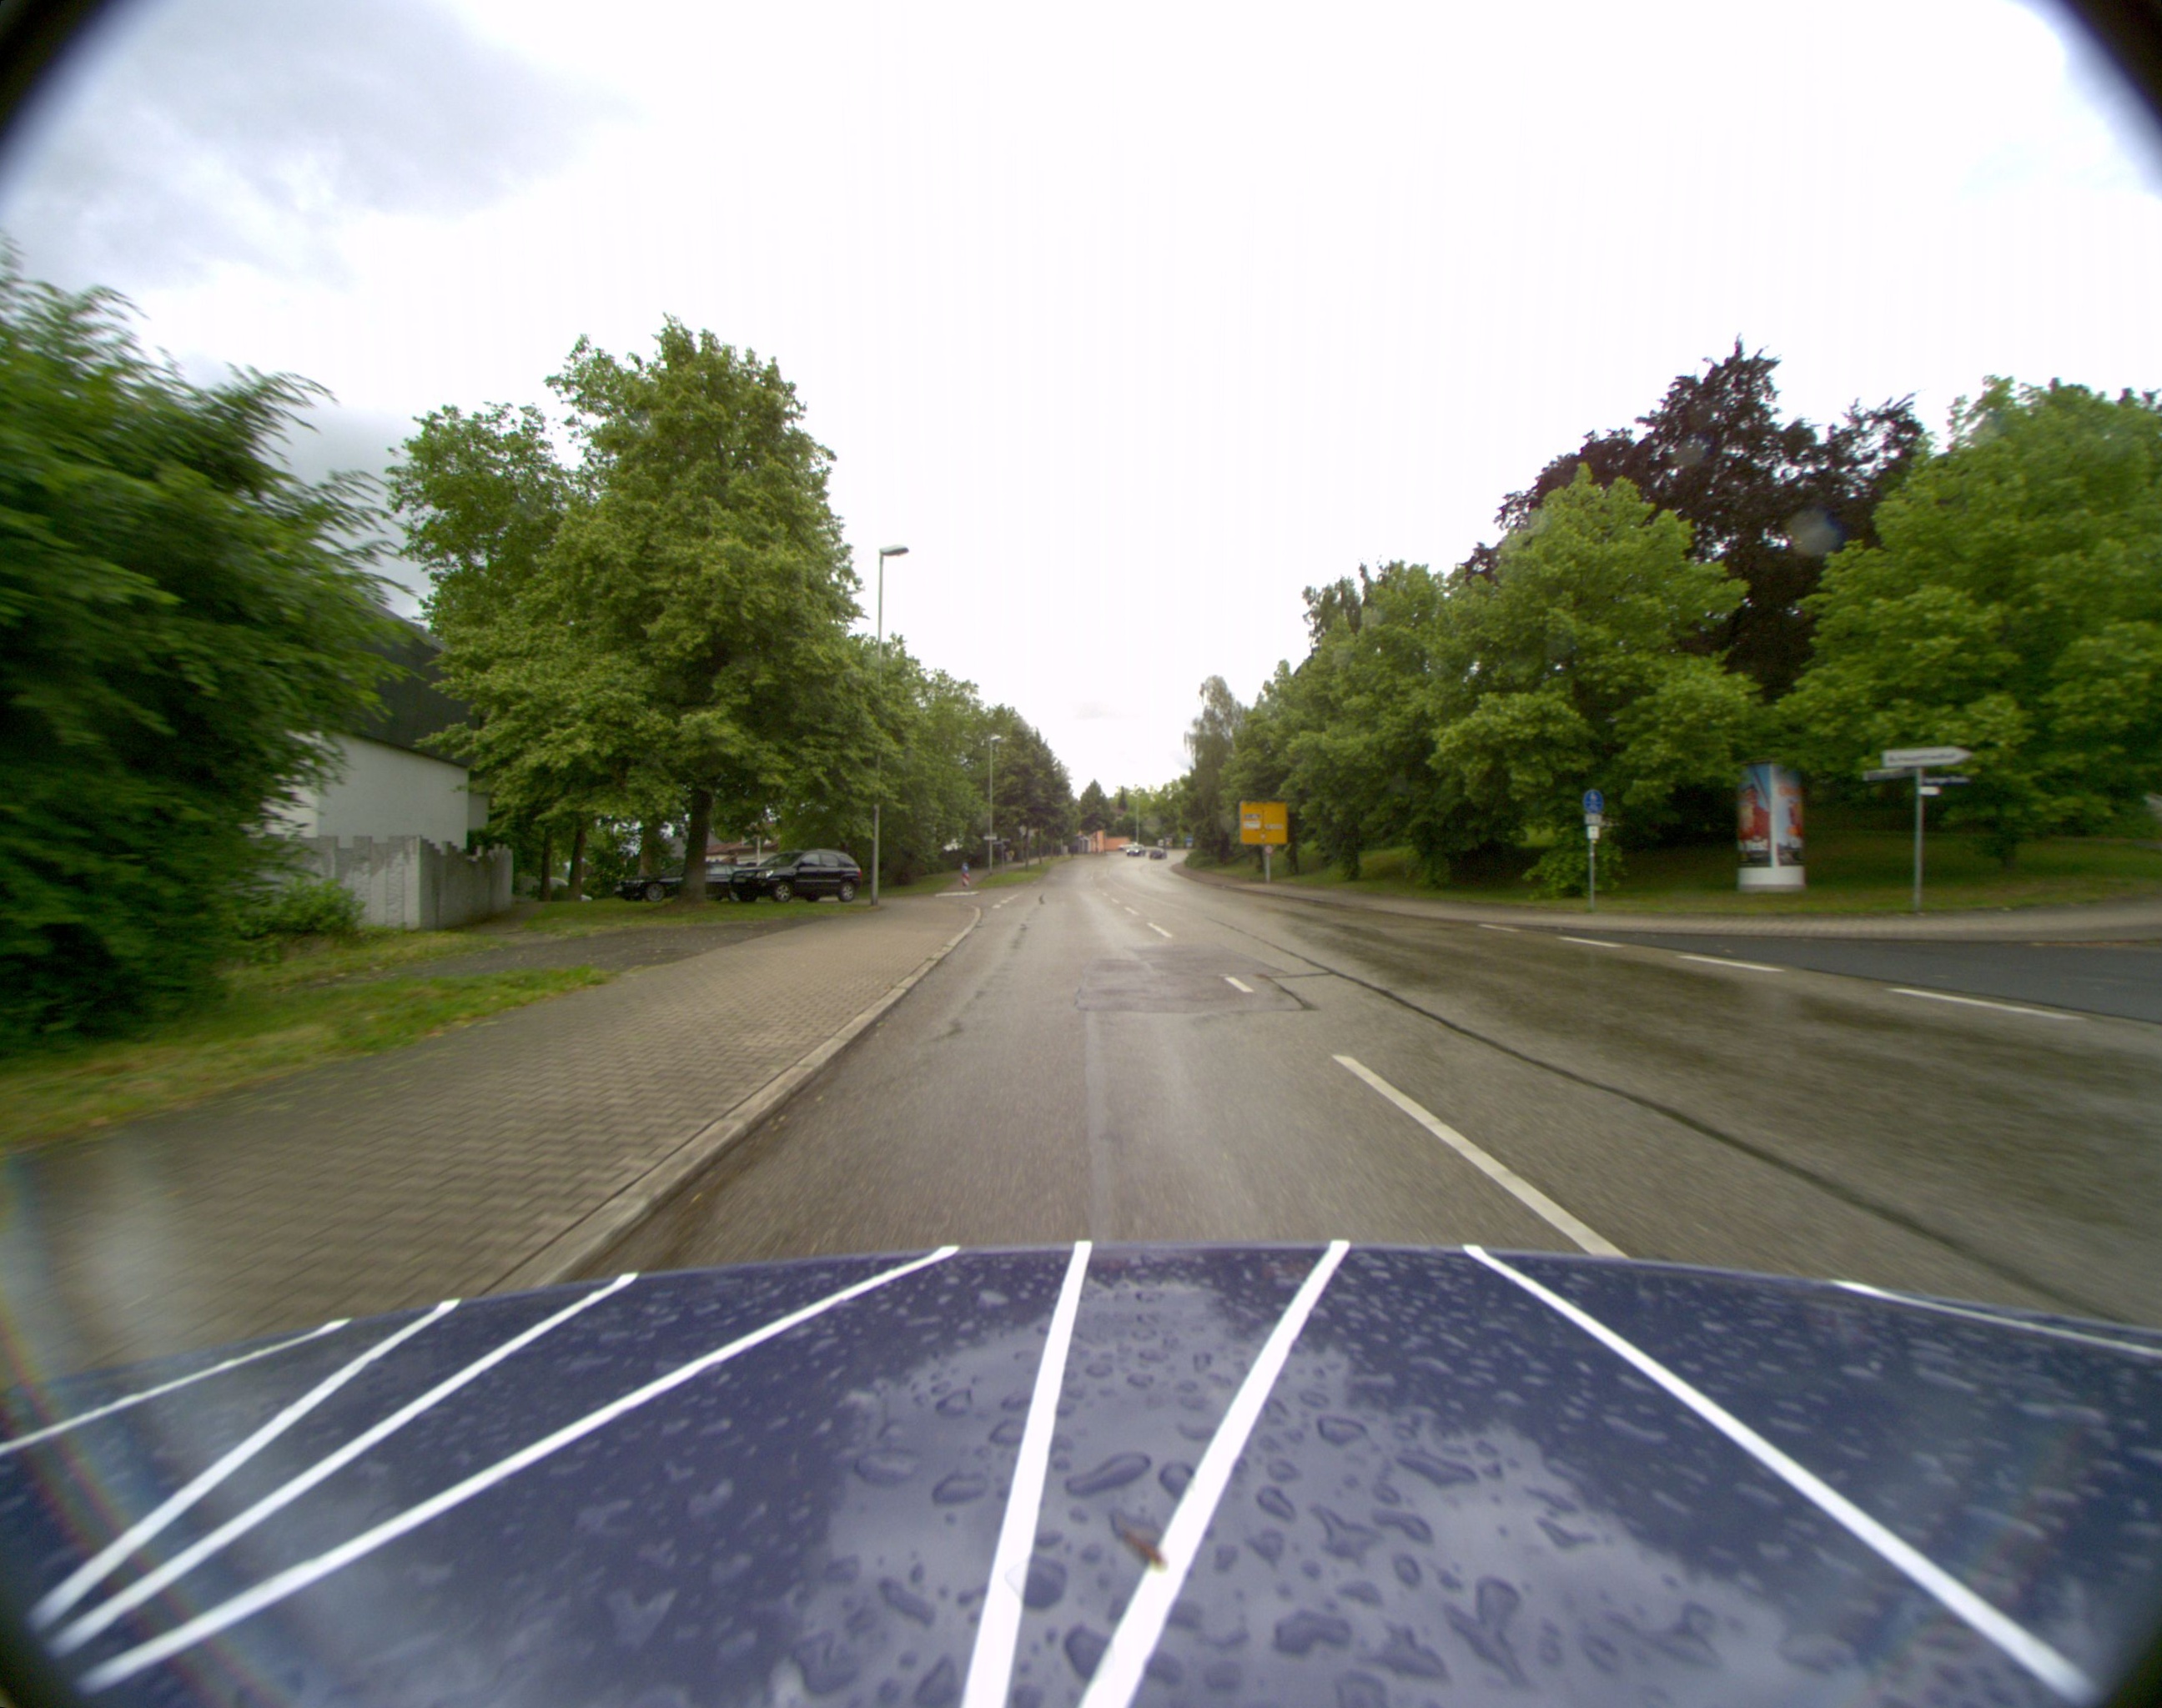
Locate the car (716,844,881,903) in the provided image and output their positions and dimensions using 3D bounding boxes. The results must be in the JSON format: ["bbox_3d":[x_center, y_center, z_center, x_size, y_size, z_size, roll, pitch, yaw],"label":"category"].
[{"bbox_3d":[-8.919,0.679,24.490,1.949,1.679,4.914,-2,-3,28],"label":"car"}]

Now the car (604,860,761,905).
[{"bbox_3d":[-13.870,1.035,26.712,1.752,1.460,4.577,-3,-4,37],"label":"car"}]

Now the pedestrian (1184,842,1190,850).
[{"bbox_3d":[21.085,-1.598,150.650,0.926,1.645,1.099,1,1,21],"label":"pedestrian"}]

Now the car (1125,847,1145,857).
[{"bbox_3d":[8.154,-0.333,113.848,1.859,1.406,4.392,0,-1,19],"label":"car"}]

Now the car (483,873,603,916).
[{"bbox_3d":[-35.658,2.723,50.501,6.163,2.657,2.351,4,-4,-42],"label":"car"}]

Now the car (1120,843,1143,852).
[{"bbox_3d":[9.292,-1.252,139.281,3.863,1.557,1.728,2,1,11],"label":"car"}]

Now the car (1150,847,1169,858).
[{"bbox_3d":[10.963,-0.197,106.408,1.723,1.375,4.146,2,0,19],"label":"car"}]
